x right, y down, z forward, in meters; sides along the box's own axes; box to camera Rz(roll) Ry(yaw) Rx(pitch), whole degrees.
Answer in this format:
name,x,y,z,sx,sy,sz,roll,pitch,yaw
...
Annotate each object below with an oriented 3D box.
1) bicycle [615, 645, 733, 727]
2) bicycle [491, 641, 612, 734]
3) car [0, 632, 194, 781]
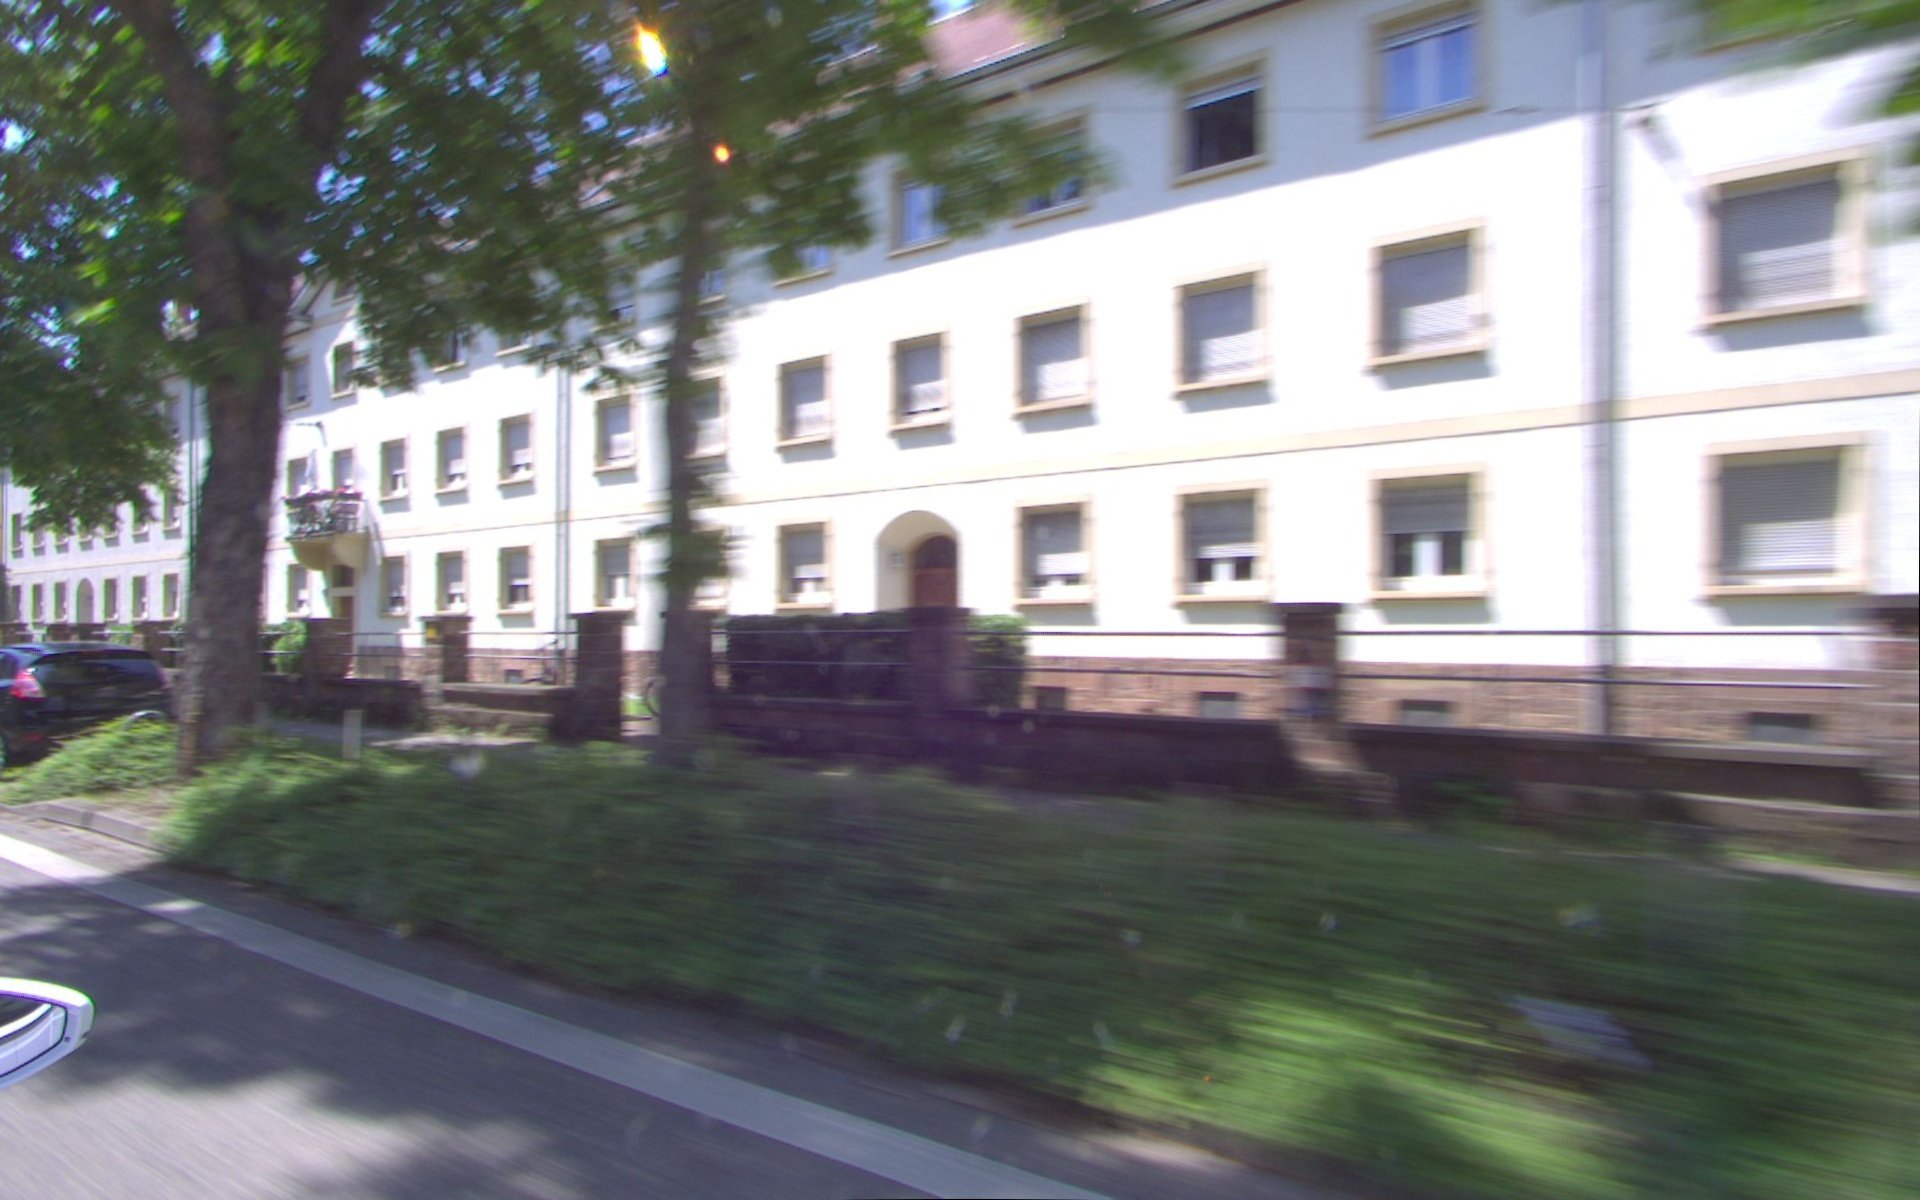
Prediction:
name,x,y,z,sx,sy,sz,roll,pitch,yaw
bicycle,-4.339,1.267,15.129,1.943,1.141,0.595,-1,1,34
bicycle,-5.847,1.214,14.302,1.942,1.225,0.595,-1,0,33
car,-11.151,1.165,12.057,3.940,1.534,1.655,-1,-3,30
